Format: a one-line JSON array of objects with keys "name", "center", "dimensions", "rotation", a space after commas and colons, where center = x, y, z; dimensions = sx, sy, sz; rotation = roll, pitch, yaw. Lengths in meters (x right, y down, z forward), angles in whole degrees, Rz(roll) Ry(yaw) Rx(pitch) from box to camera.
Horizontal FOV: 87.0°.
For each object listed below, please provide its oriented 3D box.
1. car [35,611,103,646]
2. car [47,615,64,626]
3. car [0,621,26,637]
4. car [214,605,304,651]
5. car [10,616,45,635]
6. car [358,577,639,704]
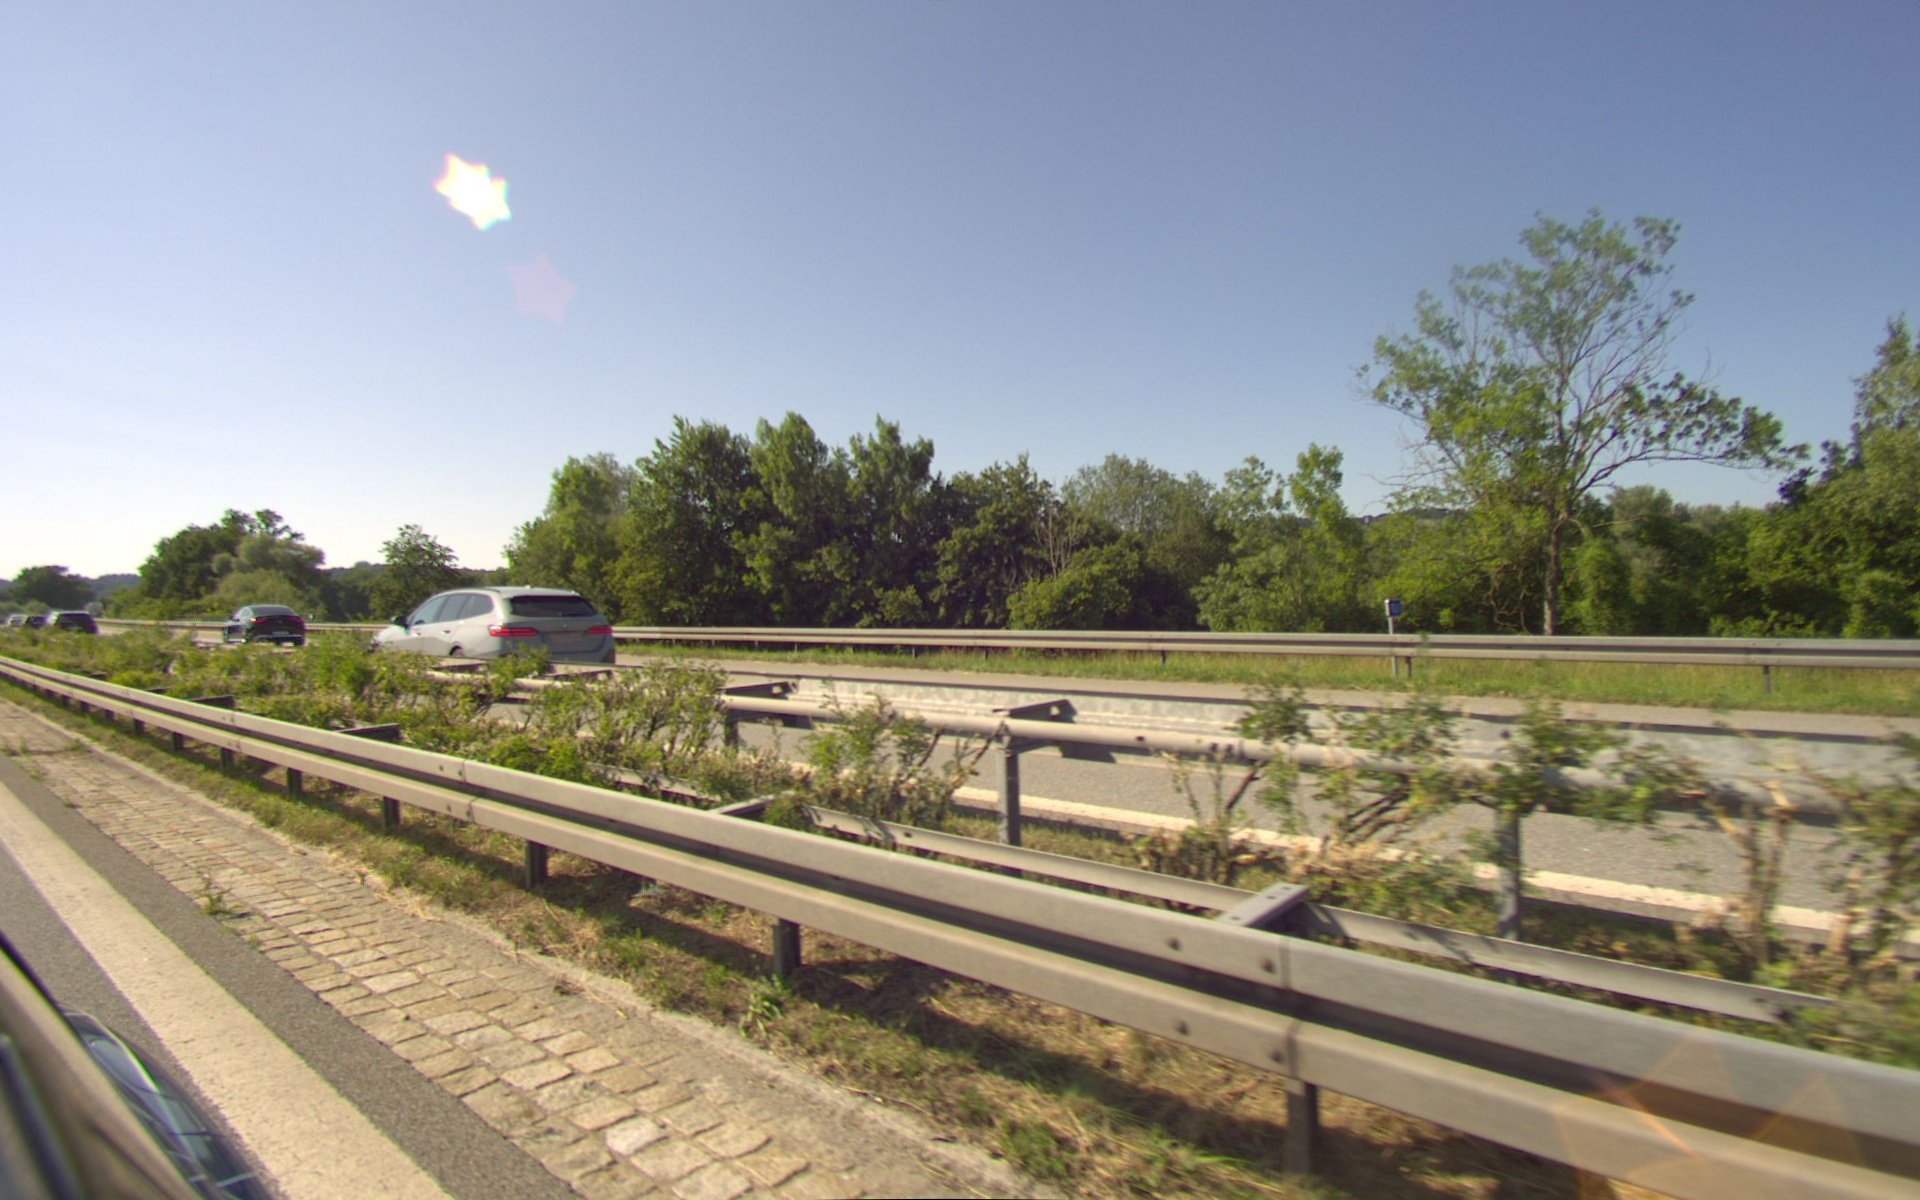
[{"name": "car", "center": [-39.796, 1.267, 45.188], "dimensions": [3.999, 1.493, 1.833], "rotation": [-1, -1, 42]}, {"name": "car", "center": [-142.167, 3.205, 159.022], "dimensions": [1.969, 1.692, 5.323], "rotation": [1, -1, -42]}, {"name": "car", "center": [-95.805, 2.913, 102.203], "dimensions": [4.649, 1.445, 1.801], "rotation": [-1, 0, 42]}, {"name": "car", "center": [-26.301, 1.030, 37.923], "dimensions": [4.492, 1.646, 1.833], "rotation": [-1, -1, 42]}, {"name": "car", "center": [-77.157, 2.114, 83.710], "dimensions": [4.505, 1.481, 1.754], "rotation": [-1, 0, 42]}, {"name": "car", "center": [-6.699, 0.540, 14.418], "dimensions": [4.792, 1.516, 1.910], "rotation": [-1, -2, 42]}]
